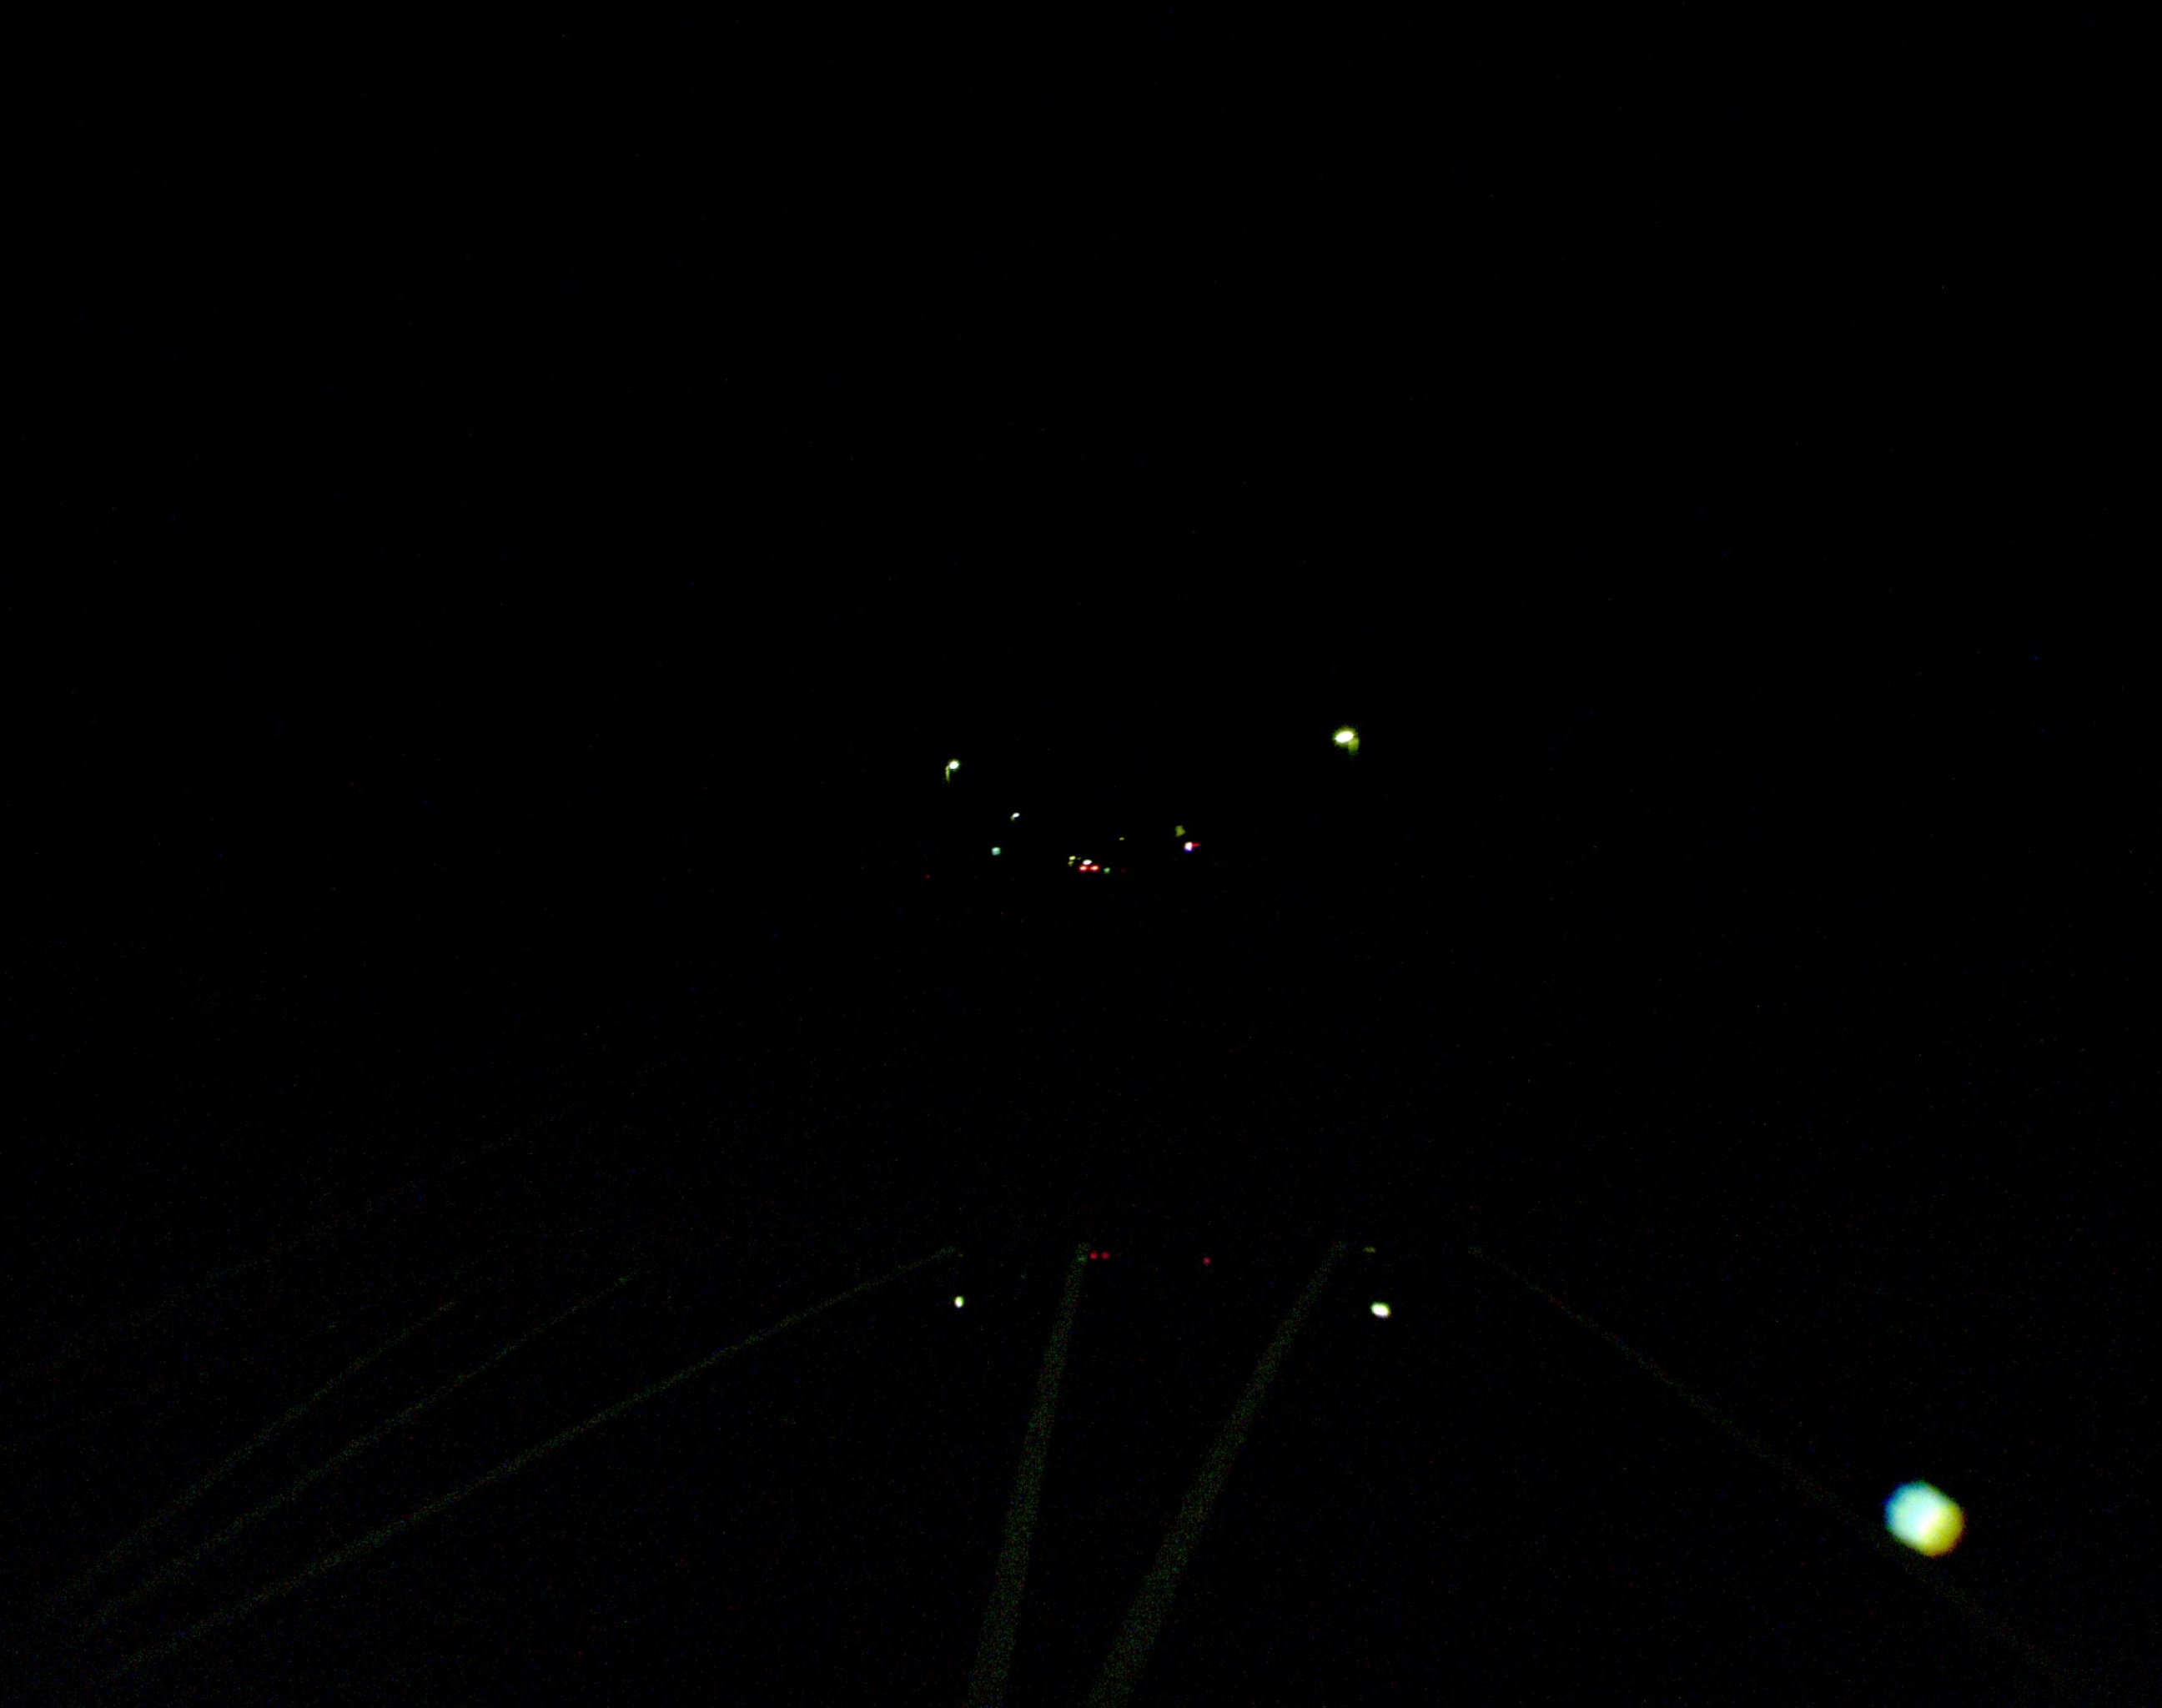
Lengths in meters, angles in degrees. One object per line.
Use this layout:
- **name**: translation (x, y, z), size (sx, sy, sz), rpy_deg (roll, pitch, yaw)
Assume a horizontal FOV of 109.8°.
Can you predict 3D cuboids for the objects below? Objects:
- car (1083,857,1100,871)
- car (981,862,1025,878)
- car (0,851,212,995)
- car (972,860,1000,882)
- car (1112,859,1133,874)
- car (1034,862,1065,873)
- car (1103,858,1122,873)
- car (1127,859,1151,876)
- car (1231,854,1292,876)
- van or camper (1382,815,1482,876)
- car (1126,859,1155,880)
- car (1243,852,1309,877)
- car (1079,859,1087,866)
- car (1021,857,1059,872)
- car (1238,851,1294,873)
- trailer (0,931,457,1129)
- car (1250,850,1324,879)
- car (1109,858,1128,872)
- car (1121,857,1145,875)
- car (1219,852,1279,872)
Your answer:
- **car**: translation (1.324, 1.208, 95.101), size (2.008, 1.737, 4.558), rpy_deg (-1, 0, 1)
- **car**: translation (-7.233, 1.458, 70.929), size (3.914, 1.477, 1.832), rpy_deg (0, 0, 0)
- **car**: translation (-15.969, 0.991, 10.792), size (1.999, 2.002, 4.505), rpy_deg (-2, 0, 0)
- **car**: translation (-7.126, 1.266, 57.337), size (1.643, 1.550, 3.678), rpy_deg (-1, 0, -1)
- **car**: translation (5.149, 1.543, 94.913), size (2.121, 1.539, 4.475), rpy_deg (-5, 1, -2)
- **car**: translation (-4.317, 1.831, 104.138), size (3.924, 1.542, 1.988), rpy_deg (0, 0, 4)
- **car**: translation (4.400, 1.549, 106.791), size (2.121, 1.935, 4.887), rpy_deg (-3, 0, -2)
- **car**: translation (5.176, 1.222, 68.390), size (1.775, 1.460, 3.966), rpy_deg (-1, 0, -1)
- **car**: translation (13.364, 0.835, 56.432), size (3.997, 1.455, 2.000), rpy_deg (-2, 0, 1)
- **van or camper**: translation (17.321, -0.378, 37.887), size (2.080, 2.731, 5.929), rpy_deg (-2, 0, -1)
- **car**: translation (4.526, 1.158, 58.030), size (1.754, 1.460, 4.009), rpy_deg (-2, 0, -1)
- **car**: translation (13.657, 0.718, 53.484), size (4.125, 1.652, 2.000), rpy_deg (1, 0, 1)
- **car**: translation (0.437, 2.110, 189.790), size (1.724, 1.705, 3.960), rpy_deg (-2, 0, -3)
- **car**: translation (-4.951, 1.331, 92.818), size (4.364, 1.805, 2.032), rpy_deg (0, 0, 5)
- **car**: translation (14.531, 0.599, 59.828), size (3.996, 1.608, 2.001), rpy_deg (-1, 0, 3)
- **trailer**: translation (-7.448, 1.326, 5.940), size (3.441, 0.996, 1.954), rpy_deg (-4, 0, 0)
- **car**: translation (12.852, 0.640, 47.487), size (4.000, 1.693, 1.947), rpy_deg (1, 0, -7)
- **car**: translation (4.957, 1.436, 99.904), size (2.121, 1.660, 4.169), rpy_deg (-2, -1, -2)
- **car**: translation (4.990, 1.183, 73.658), size (1.933, 1.627, 4.470), rpy_deg (-2, 0, -1)
- **car**: translation (13.817, 0.660, 62.548), size (4.325, 1.552, 2.028), rpy_deg (-1, 0, -7)
